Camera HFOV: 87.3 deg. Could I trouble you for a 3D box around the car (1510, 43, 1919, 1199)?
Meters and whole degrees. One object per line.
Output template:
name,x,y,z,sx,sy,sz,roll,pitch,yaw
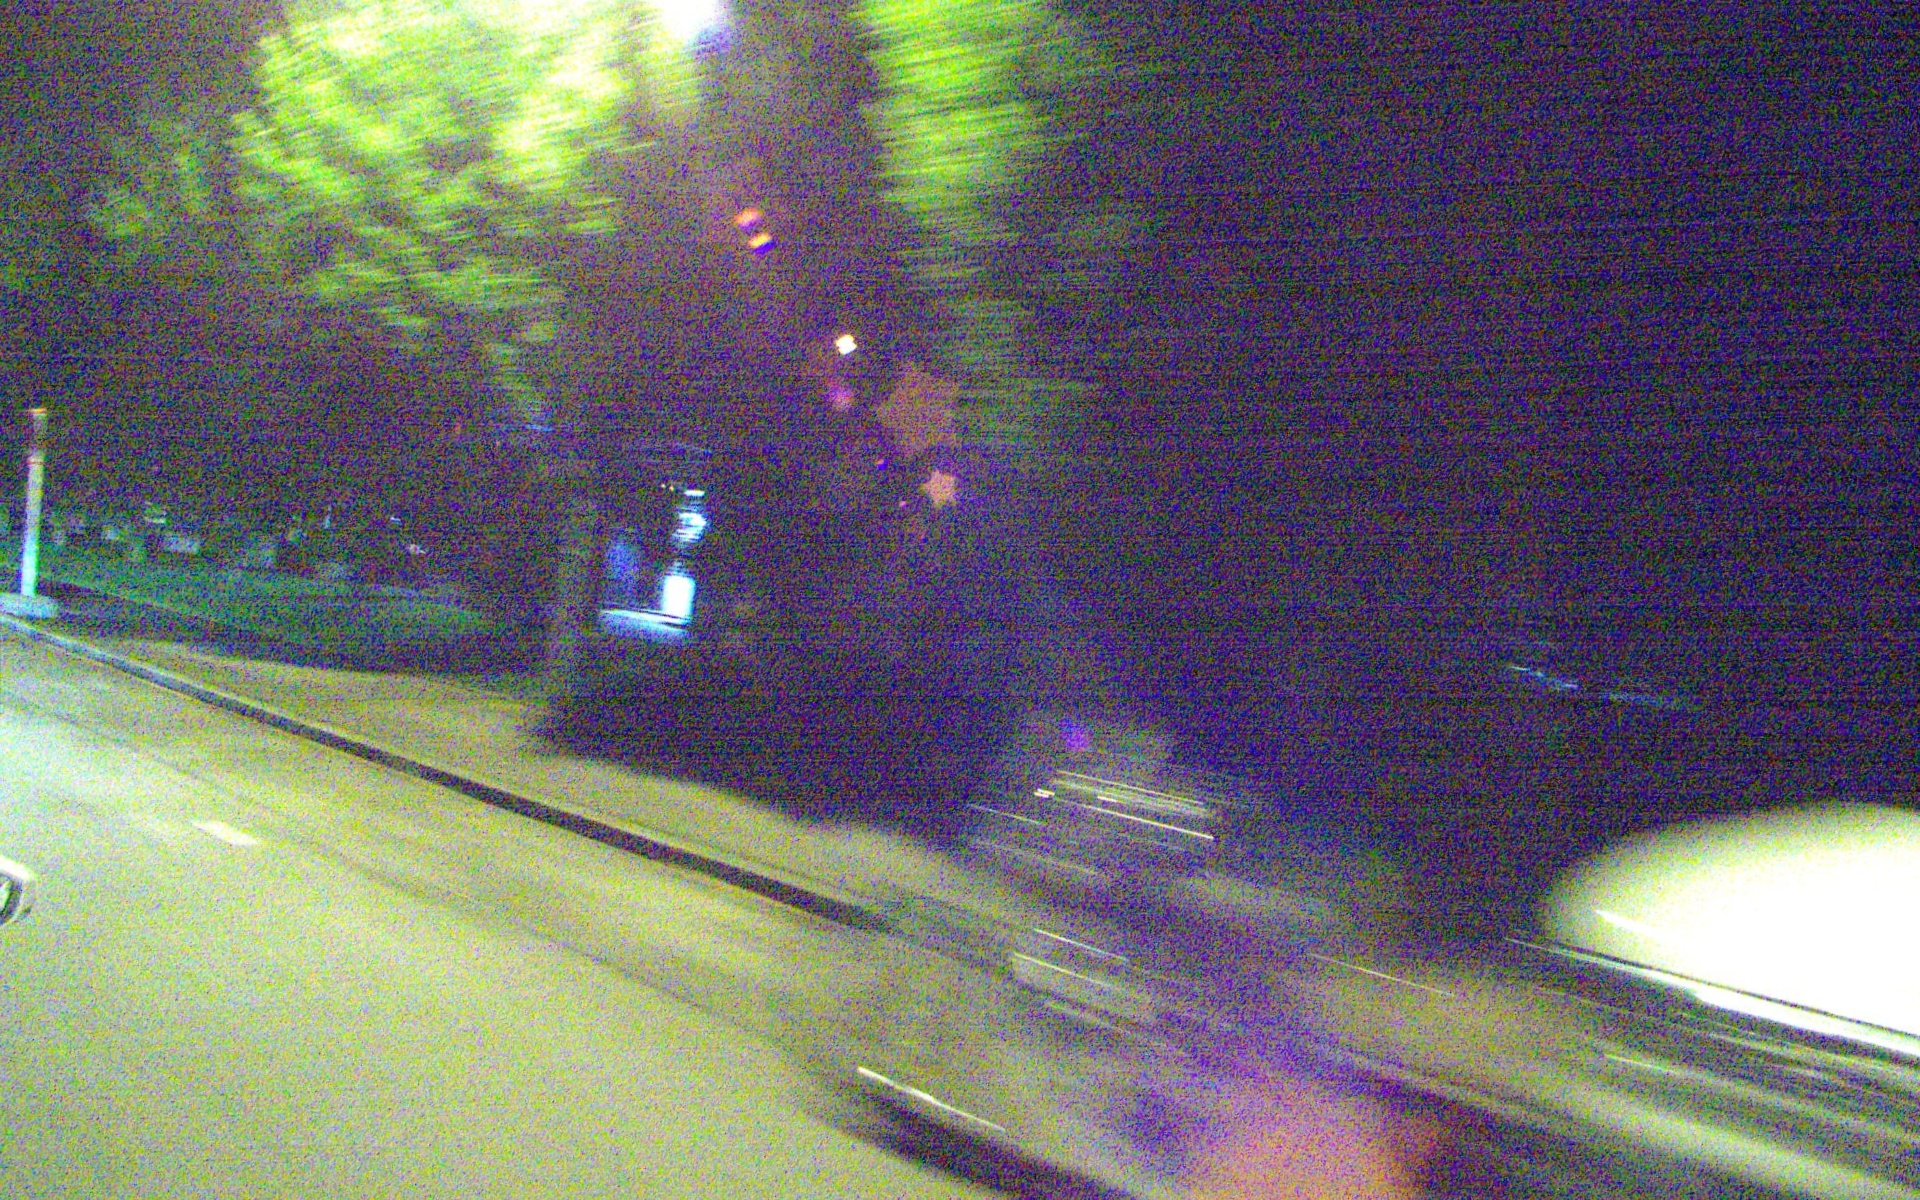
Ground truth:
car,4.018,0.795,0.955,5.952,2.556,2.024,7,-2,32

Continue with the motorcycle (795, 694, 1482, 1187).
motorcycle,0.659,1.071,3.428,2.160,1.197,0.764,9,-2,-26
